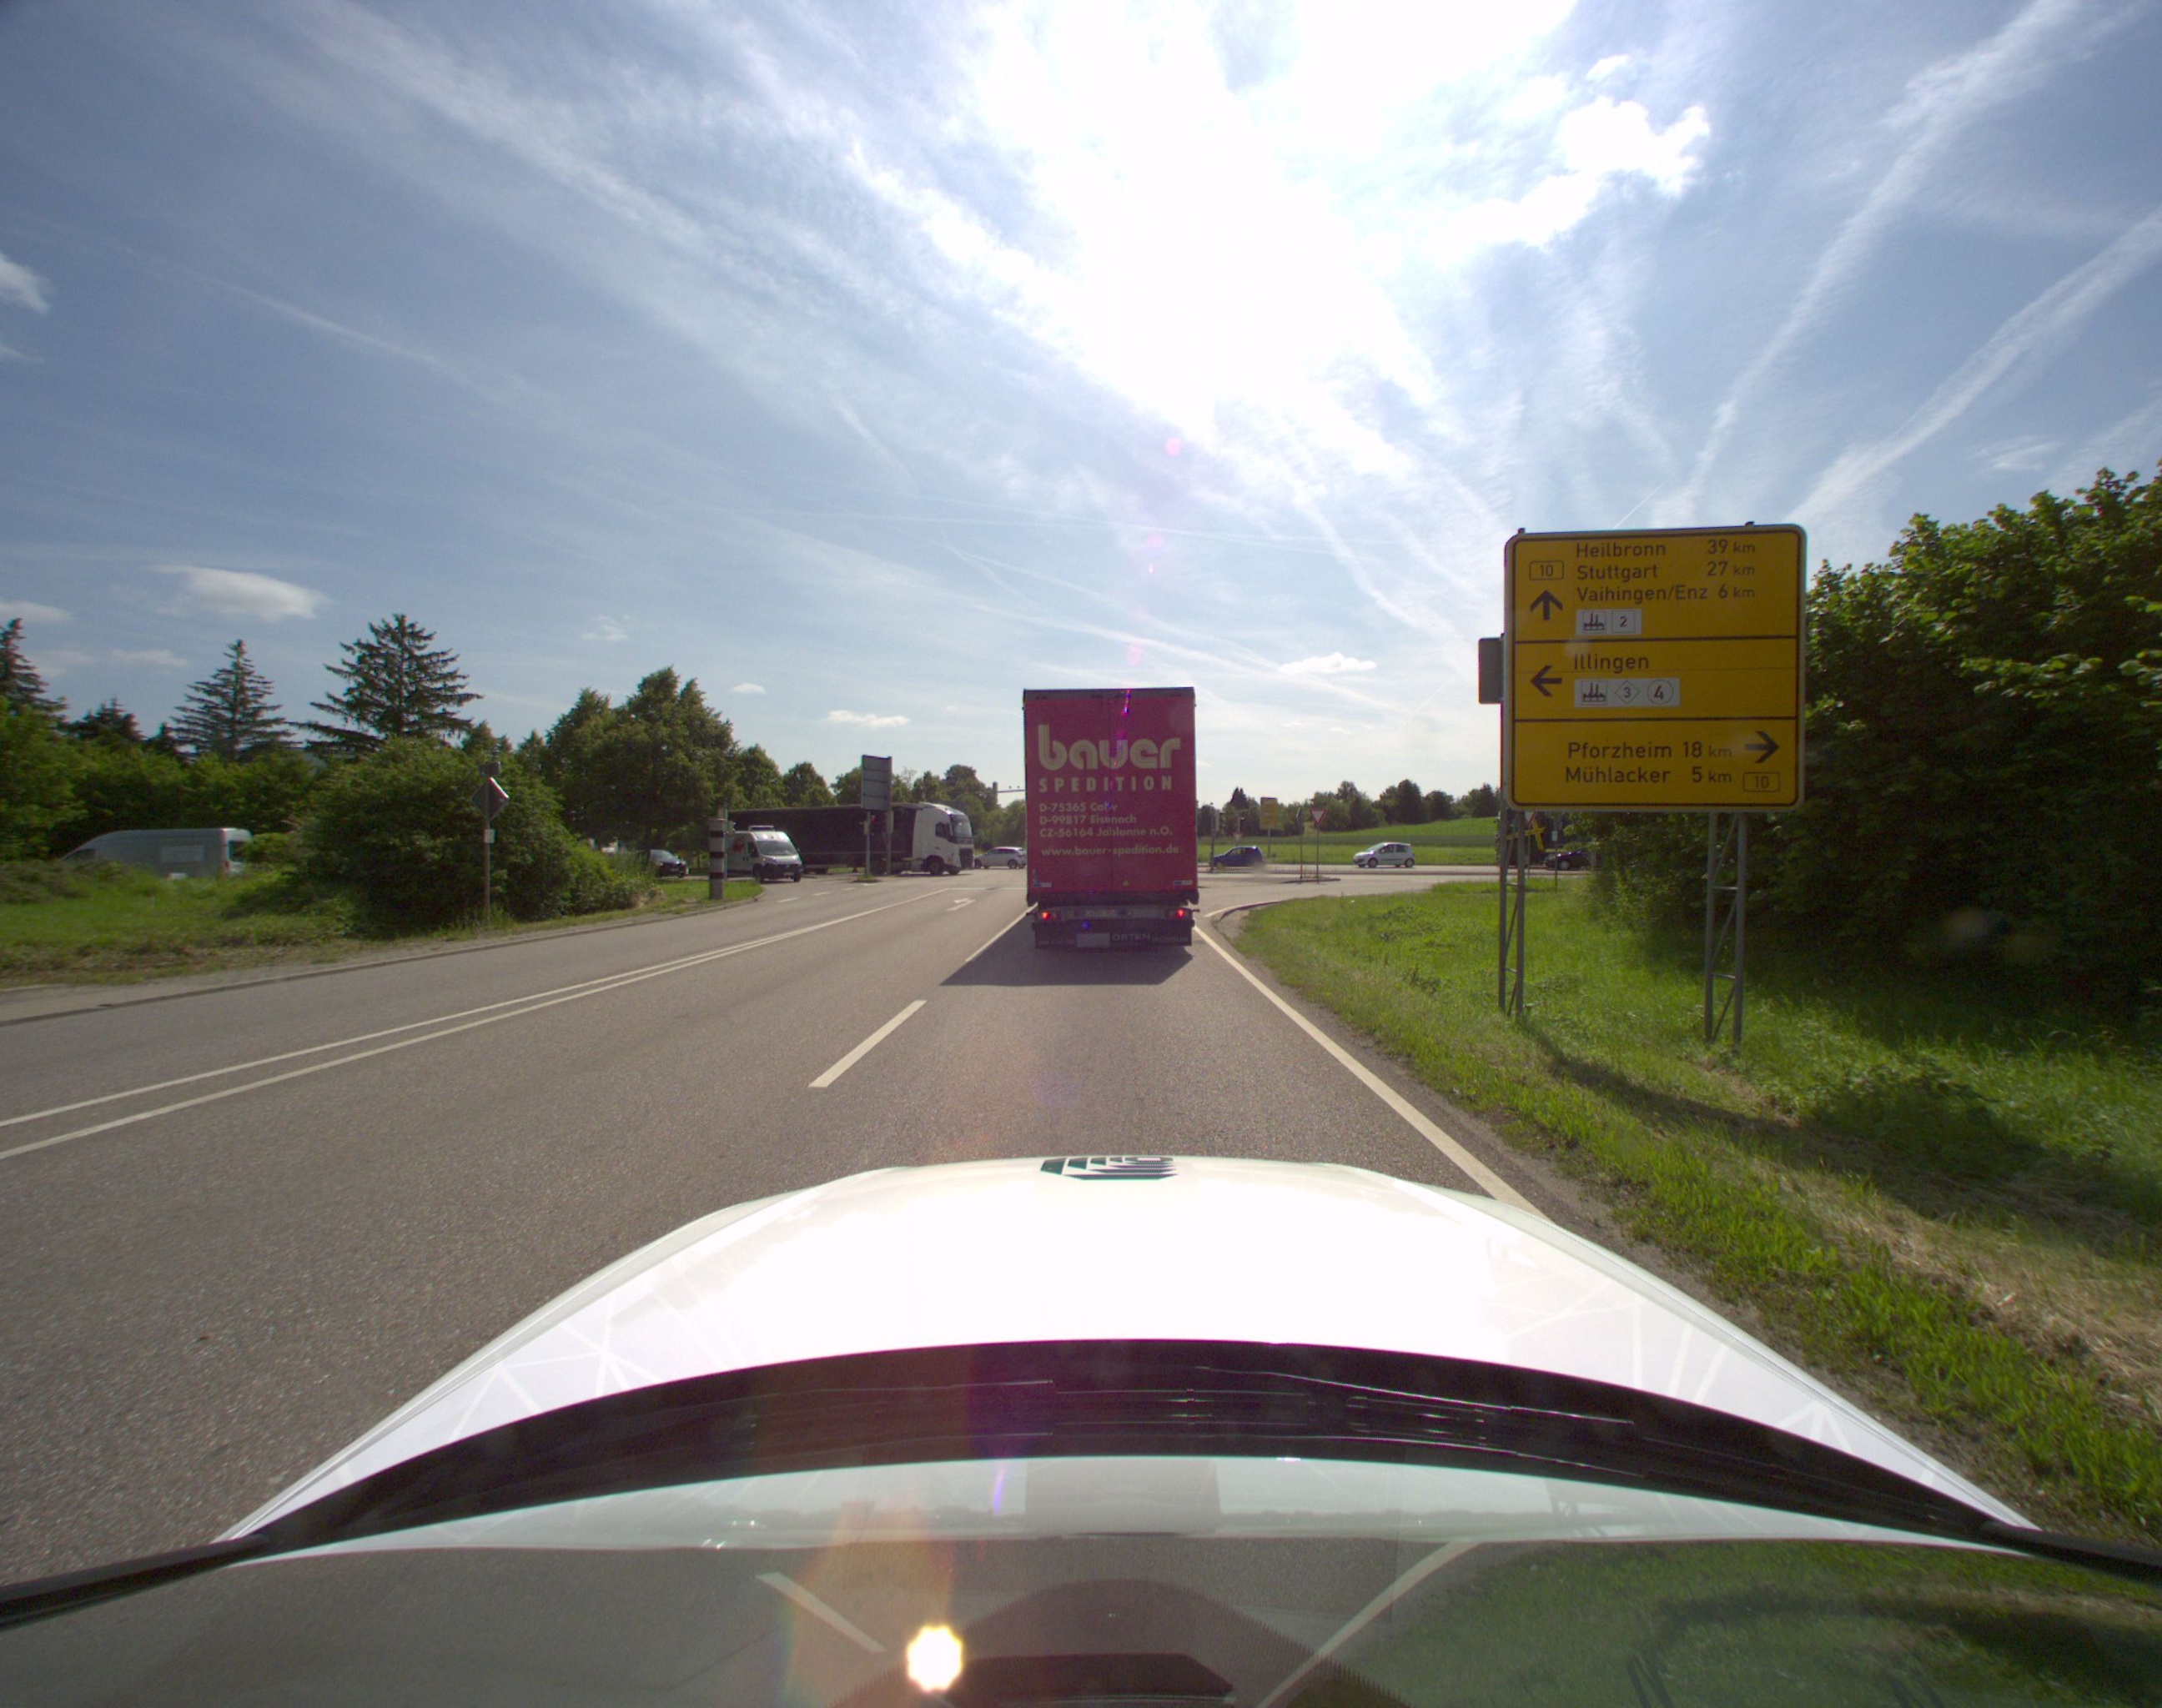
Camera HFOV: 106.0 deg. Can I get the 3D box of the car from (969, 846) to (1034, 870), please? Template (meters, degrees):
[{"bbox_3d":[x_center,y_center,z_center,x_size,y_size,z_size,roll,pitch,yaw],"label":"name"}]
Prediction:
[{"bbox_3d":[-5.438,0.307,55.903,4.070,1.547,1.880,-1,-2,14],"label":"car"}]

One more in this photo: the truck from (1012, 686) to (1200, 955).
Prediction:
[{"bbox_3d":[0.665,-0.560,20.285,2.724,3.925,16.634,-1,0,2],"label":"truck"}]

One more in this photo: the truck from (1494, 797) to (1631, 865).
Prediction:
[{"bbox_3d":[29.411,-1.372,50.157,6.871,3.993,3.043,0,1,21],"label":"truck"}]

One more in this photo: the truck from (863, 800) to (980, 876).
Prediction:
[{"bbox_3d":[-8.960,-0.863,45.878,5.779,4.061,2.811,0,1,18],"label":"truck"}]

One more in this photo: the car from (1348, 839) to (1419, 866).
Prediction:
[{"bbox_3d":[19.211,-0.082,51.788,3.821,1.633,1.758,-1,-1,-5],"label":"car"}]

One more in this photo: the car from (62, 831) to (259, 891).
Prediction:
[{"bbox_3d":[-35.443,0.260,31.539,4.600,2.180,1.986,0,0,-22],"label":"car"}]

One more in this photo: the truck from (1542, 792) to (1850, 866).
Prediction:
[{"bbox_3d":[35.359,-1.355,47.835,14.157,3.979,3.044,0,1,22],"label":"truck"}]

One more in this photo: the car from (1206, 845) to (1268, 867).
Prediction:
[{"bbox_3d":[9.910,0.149,51.687,3.822,1.357,1.682,0,0,12],"label":"car"}]

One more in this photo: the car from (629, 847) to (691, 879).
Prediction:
[{"bbox_3d":[-24.377,0.540,47.147,4.058,1.750,1.884,-1,-1,42],"label":"car"}]

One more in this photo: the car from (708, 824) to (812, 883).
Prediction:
[{"bbox_3d":[-15.648,-0.061,39.473,5.910,2.654,2.138,0,2,41],"label":"car"}]

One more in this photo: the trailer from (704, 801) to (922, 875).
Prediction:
[{"bbox_3d":[-16.089,-0.897,48.484,13.567,4.061,2.813,0,1,21],"label":"trailer"}]
